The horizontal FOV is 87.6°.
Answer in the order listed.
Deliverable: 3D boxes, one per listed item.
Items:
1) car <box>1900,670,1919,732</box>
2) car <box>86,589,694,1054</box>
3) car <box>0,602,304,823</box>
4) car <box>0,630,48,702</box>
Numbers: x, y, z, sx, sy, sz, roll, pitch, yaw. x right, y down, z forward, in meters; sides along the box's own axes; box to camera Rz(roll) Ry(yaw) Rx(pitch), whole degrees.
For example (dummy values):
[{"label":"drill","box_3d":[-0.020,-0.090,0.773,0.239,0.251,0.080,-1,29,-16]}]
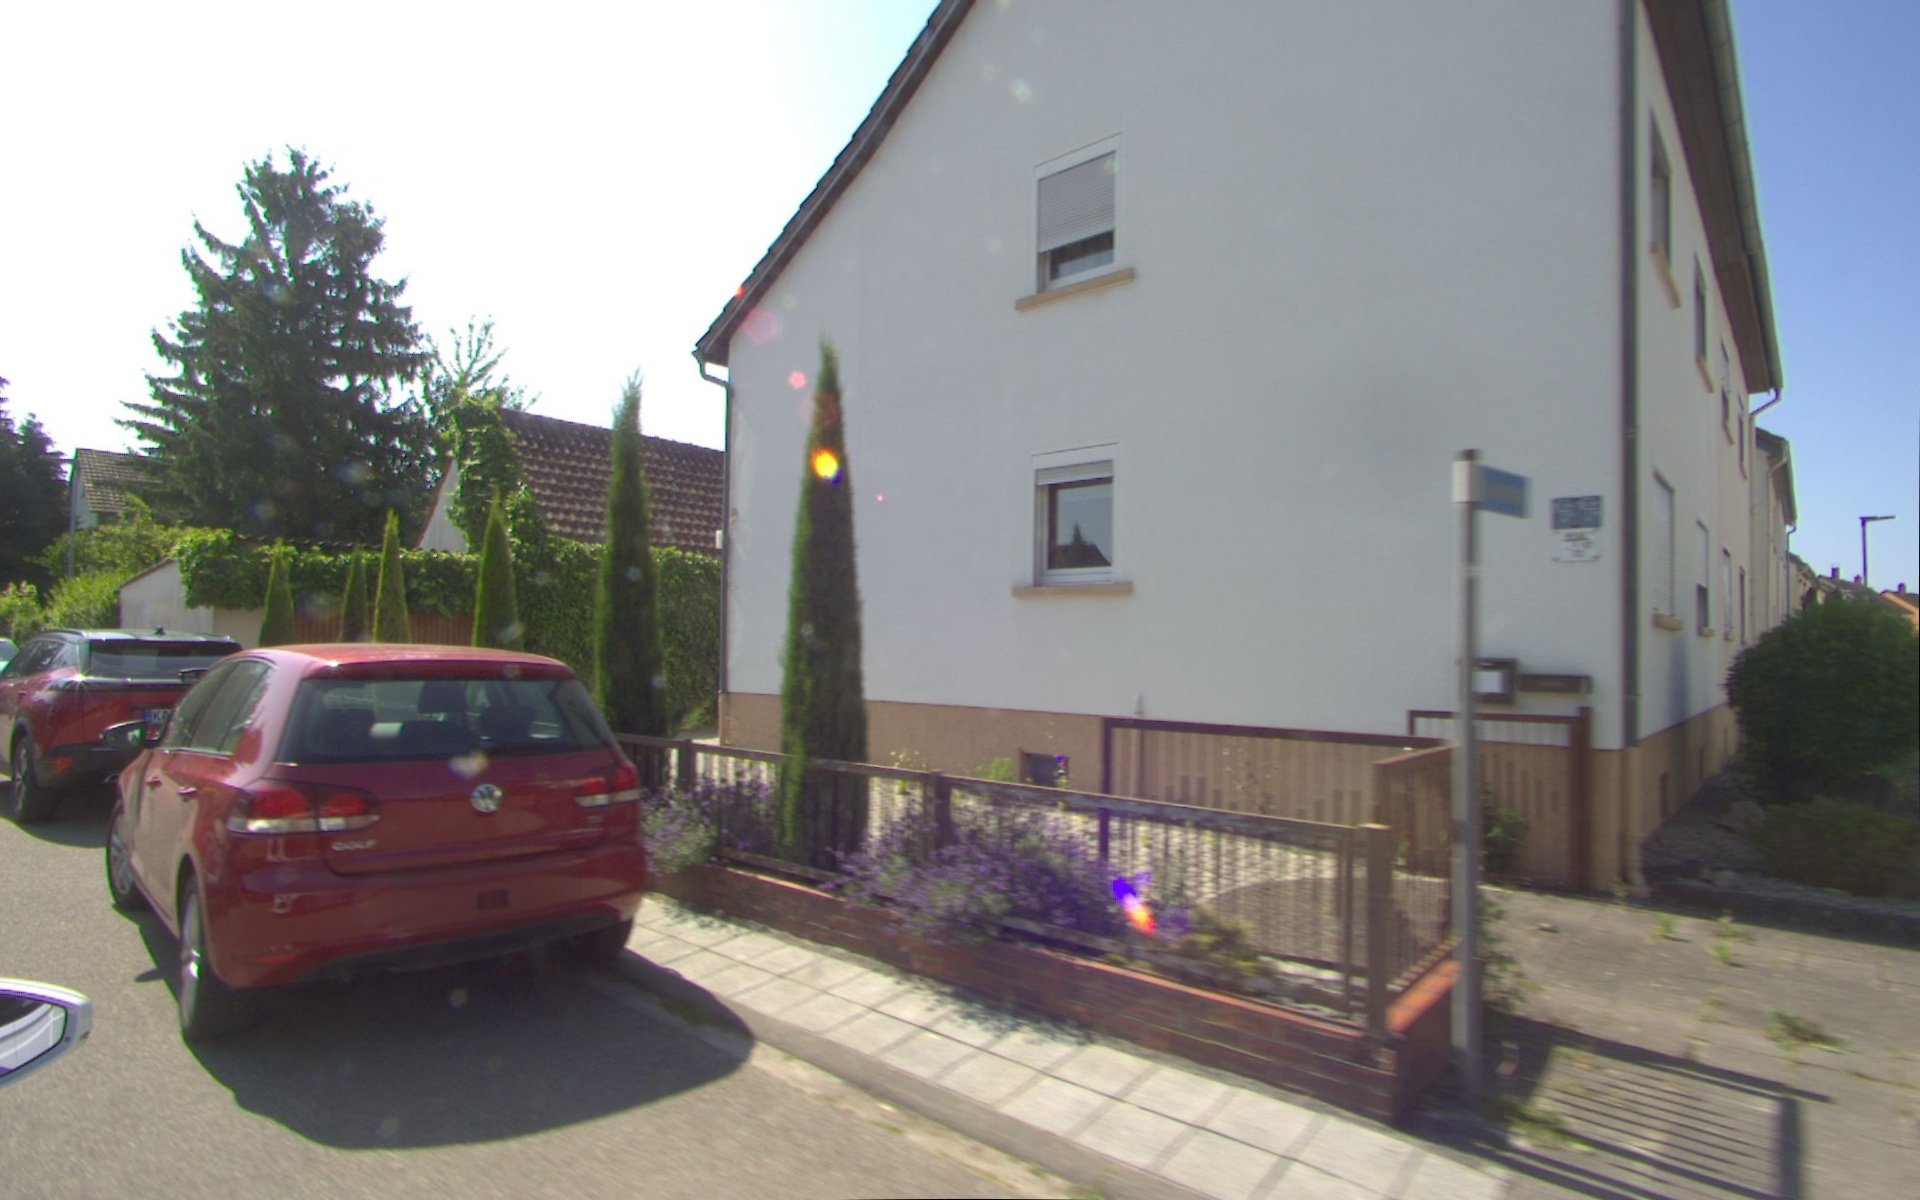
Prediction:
[{"label":"car","box_3d":[24.074,2.442,24.197,1.776,1.428,3.970,-1,-4,41]},{"label":"car","box_3d":[-3.241,0.835,5.295,1.766,1.497,3.960,6,-6,-44]},{"label":"car","box_3d":[-7.933,0.930,9.404,3.952,1.635,1.816,-1,-4,39]},{"label":"car","box_3d":[-20.498,1.334,20.872,3.954,1.416,1.696,-1,-4,41]}]
